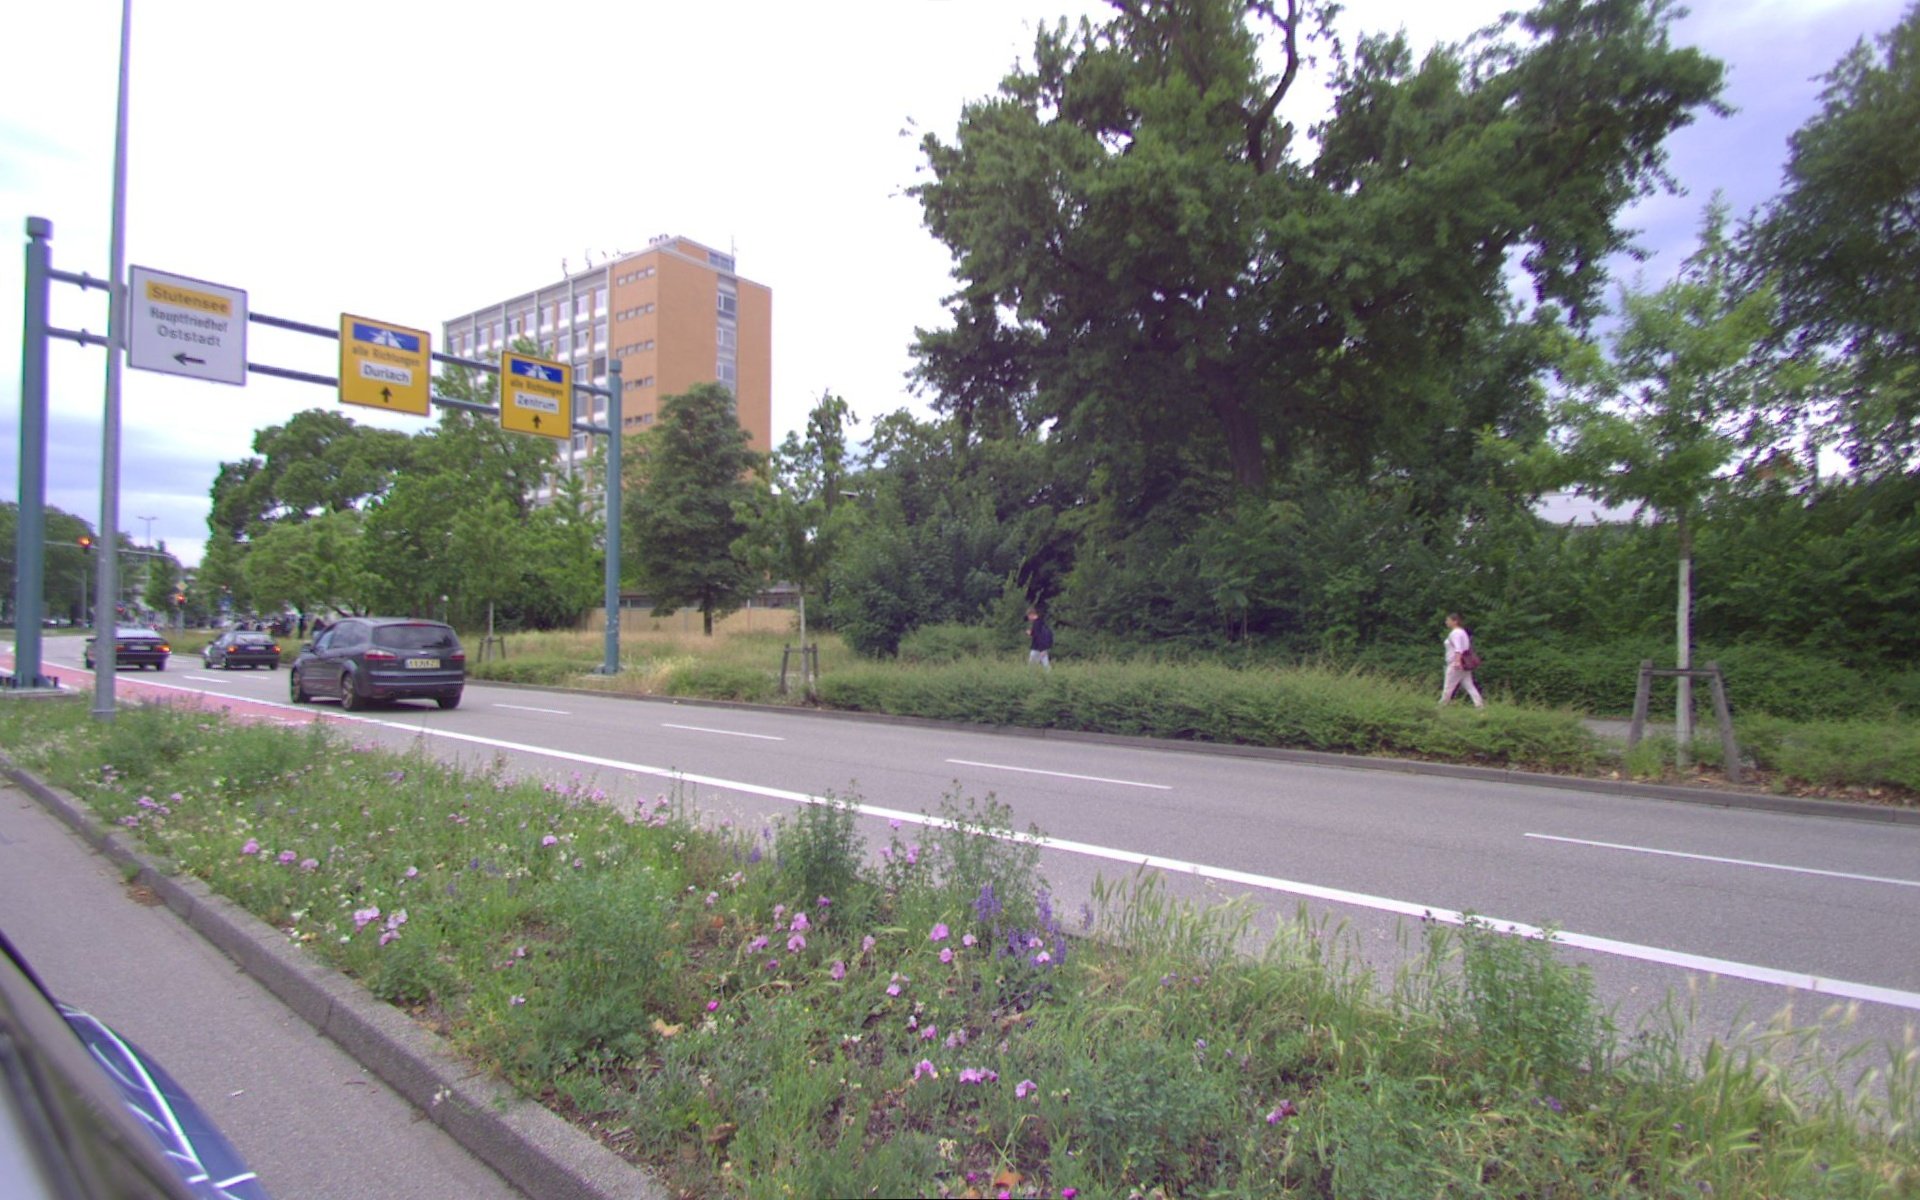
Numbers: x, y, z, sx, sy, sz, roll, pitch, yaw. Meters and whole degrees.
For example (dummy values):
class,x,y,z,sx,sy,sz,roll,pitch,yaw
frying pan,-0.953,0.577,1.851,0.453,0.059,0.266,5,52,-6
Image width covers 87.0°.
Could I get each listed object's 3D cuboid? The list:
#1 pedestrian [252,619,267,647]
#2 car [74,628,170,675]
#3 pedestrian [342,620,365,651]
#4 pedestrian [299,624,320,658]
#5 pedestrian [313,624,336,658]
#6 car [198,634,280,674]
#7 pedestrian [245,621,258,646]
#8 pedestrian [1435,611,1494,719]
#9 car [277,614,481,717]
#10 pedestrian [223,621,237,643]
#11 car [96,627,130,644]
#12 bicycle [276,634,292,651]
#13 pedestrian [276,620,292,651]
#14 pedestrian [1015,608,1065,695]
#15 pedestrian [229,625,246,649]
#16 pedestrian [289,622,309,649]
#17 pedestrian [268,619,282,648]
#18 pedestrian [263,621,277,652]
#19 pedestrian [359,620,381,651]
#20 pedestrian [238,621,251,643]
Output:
class,x,y,z,sx,sy,sz,roll,pitch,yaw
pedestrian,-42.147,1.993,60.902,0.613,1.708,0.749,2,-3,-30
car,-28.361,1.710,34.204,4.790,1.471,1.745,-1,-4,42
pedestrian,-27.476,1.598,45.828,0.711,1.368,0.638,-2,-4,40
pedestrian,-32.240,2.032,50.159,0.719,1.673,0.580,-1,-4,35
pedestrian,-31.825,2.051,50.699,0.766,1.685,0.700,-1,-4,35
car,-25.941,1.923,36.373,3.808,1.391,1.590,-2,-4,43
pedestrian,-52.517,2.491,74.981,0.762,1.815,0.630,-2,-3,44
pedestrian,7.961,1.012,15.983,0.671,1.648,0.693,-2,-4,41
car,-10.787,1.136,18.660,4.397,1.677,1.900,-1,-3,41
pedestrian,-56.297,2.481,78.043,0.943,1.683,0.698,-2,-2,44
car,-85.957,3.611,102.732,1.785,1.680,3.962,2,-2,-27
bicycle,-36.354,2.299,54.428,0.652,0.894,1.719,3,-3,-34
pedestrian,-36.349,1.899,54.448,0.652,1.644,0.765,3,-4,-34
pedestrian,1.644,1.045,20.731,0.818,1.742,0.613,-2,-4,41
pedestrian,-47.148,2.418,66.043,0.813,1.491,0.720,-2,-4,44
pedestrian,-40.373,2.158,61.794,0.823,1.625,0.631,-2,-1,19
pedestrian,-41.709,2.061,61.609,0.570,1.725,0.764,2,-3,-30
pedestrian,-36.642,1.924,53.754,0.567,1.621,0.618,3,-4,-33
pedestrian,-26.973,1.633,46.272,0.680,1.373,0.638,-2,-4,39
pedestrian,-55.581,2.471,78.636,0.890,1.683,0.698,-2,-1,45
